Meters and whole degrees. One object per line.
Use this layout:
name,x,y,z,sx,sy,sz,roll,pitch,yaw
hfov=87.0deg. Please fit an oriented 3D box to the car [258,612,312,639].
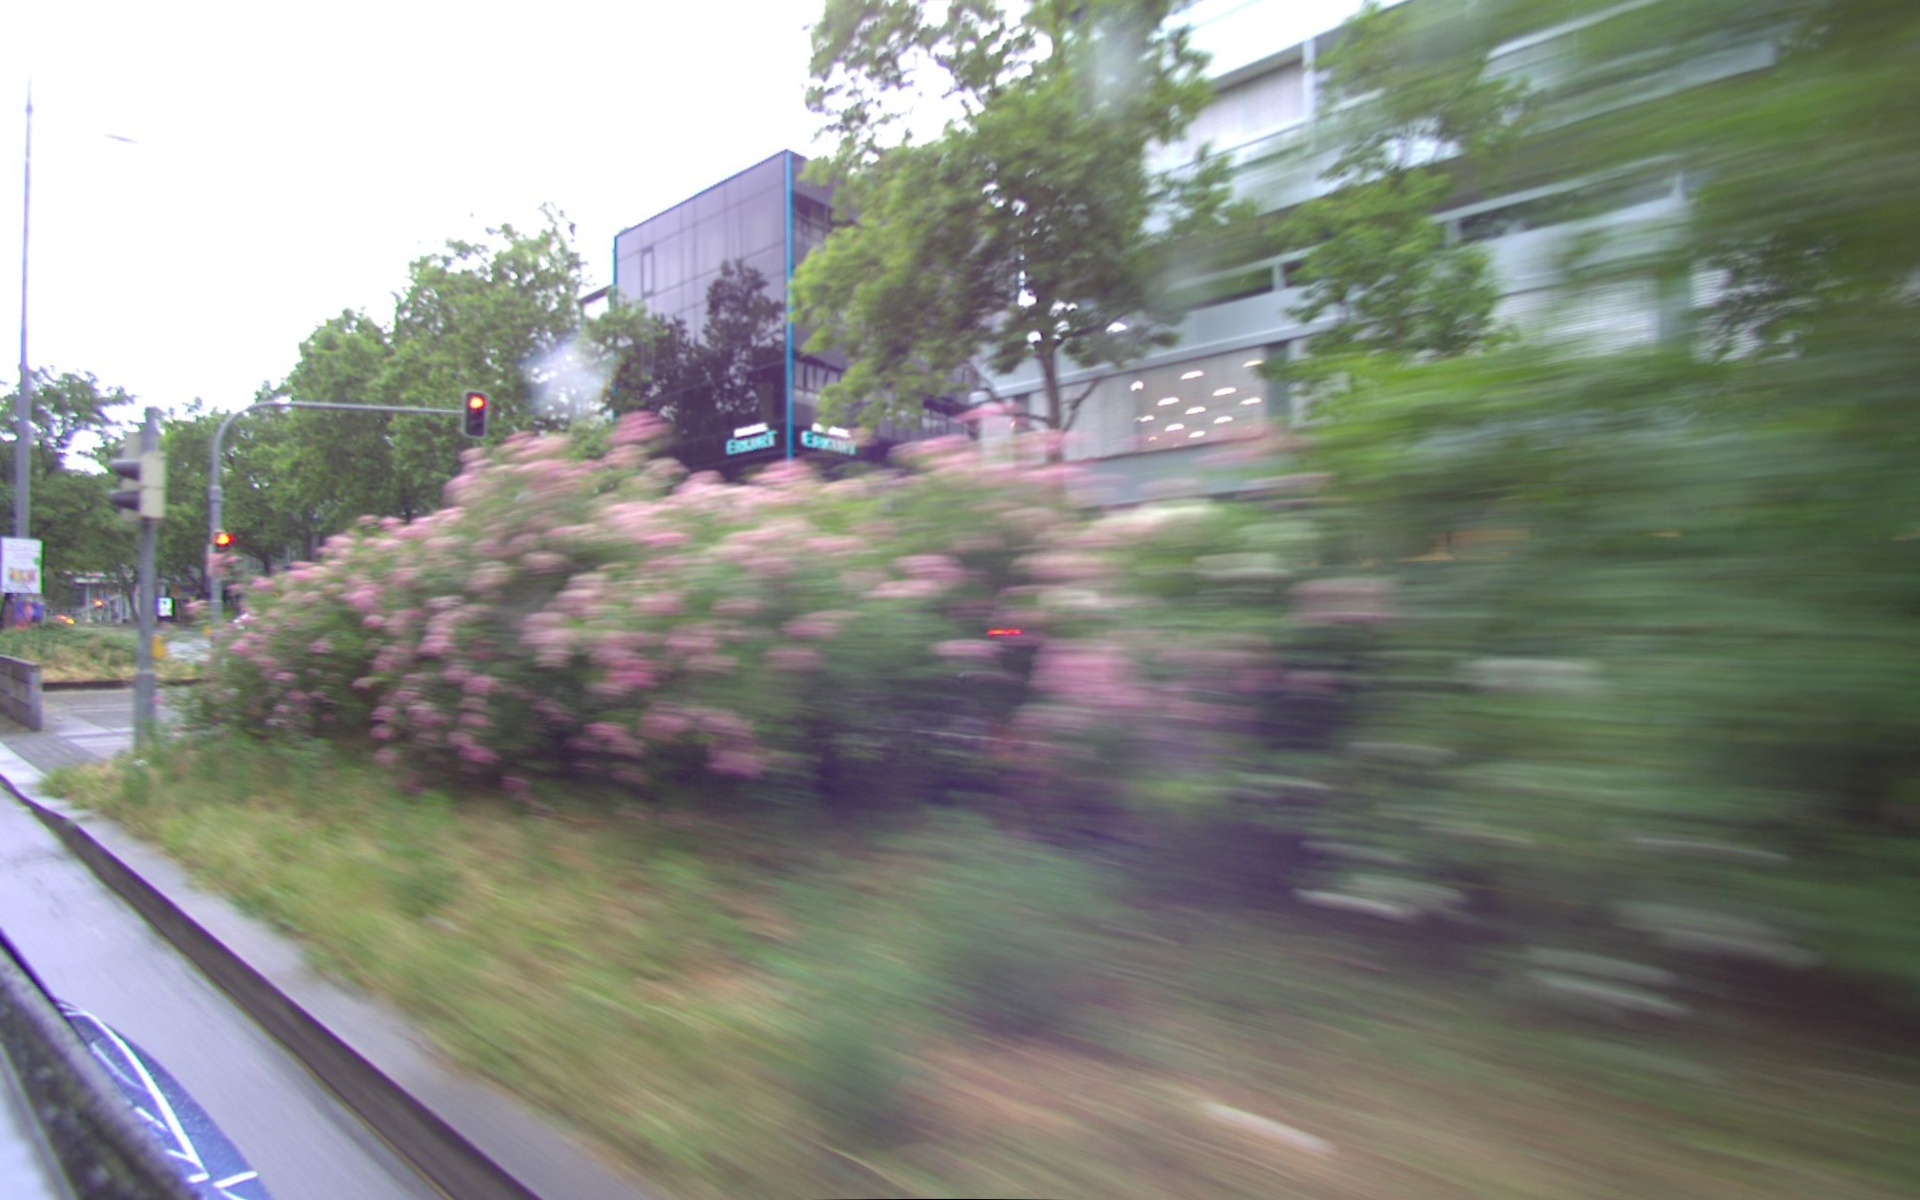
car,-40.393,1.512,60.545,3.787,1.464,1.728,0,1,41

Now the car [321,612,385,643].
car,-31.303,1.384,52.139,3.399,1.433,1.851,0,1,41

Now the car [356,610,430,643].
car,-27.315,1.248,48.725,4.538,1.396,1.850,0,1,44

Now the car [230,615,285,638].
car,-44.416,1.640,63.947,4.390,1.336,1.857,0,1,41

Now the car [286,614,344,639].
car,-35.827,1.435,56.188,4.318,1.249,1.626,0,1,42

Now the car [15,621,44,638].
car,-99.382,3.141,108.044,3.726,1.586,1.758,0,1,40

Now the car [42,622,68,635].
car,-101.092,3.149,113.041,3.736,1.335,1.743,0,1,41
